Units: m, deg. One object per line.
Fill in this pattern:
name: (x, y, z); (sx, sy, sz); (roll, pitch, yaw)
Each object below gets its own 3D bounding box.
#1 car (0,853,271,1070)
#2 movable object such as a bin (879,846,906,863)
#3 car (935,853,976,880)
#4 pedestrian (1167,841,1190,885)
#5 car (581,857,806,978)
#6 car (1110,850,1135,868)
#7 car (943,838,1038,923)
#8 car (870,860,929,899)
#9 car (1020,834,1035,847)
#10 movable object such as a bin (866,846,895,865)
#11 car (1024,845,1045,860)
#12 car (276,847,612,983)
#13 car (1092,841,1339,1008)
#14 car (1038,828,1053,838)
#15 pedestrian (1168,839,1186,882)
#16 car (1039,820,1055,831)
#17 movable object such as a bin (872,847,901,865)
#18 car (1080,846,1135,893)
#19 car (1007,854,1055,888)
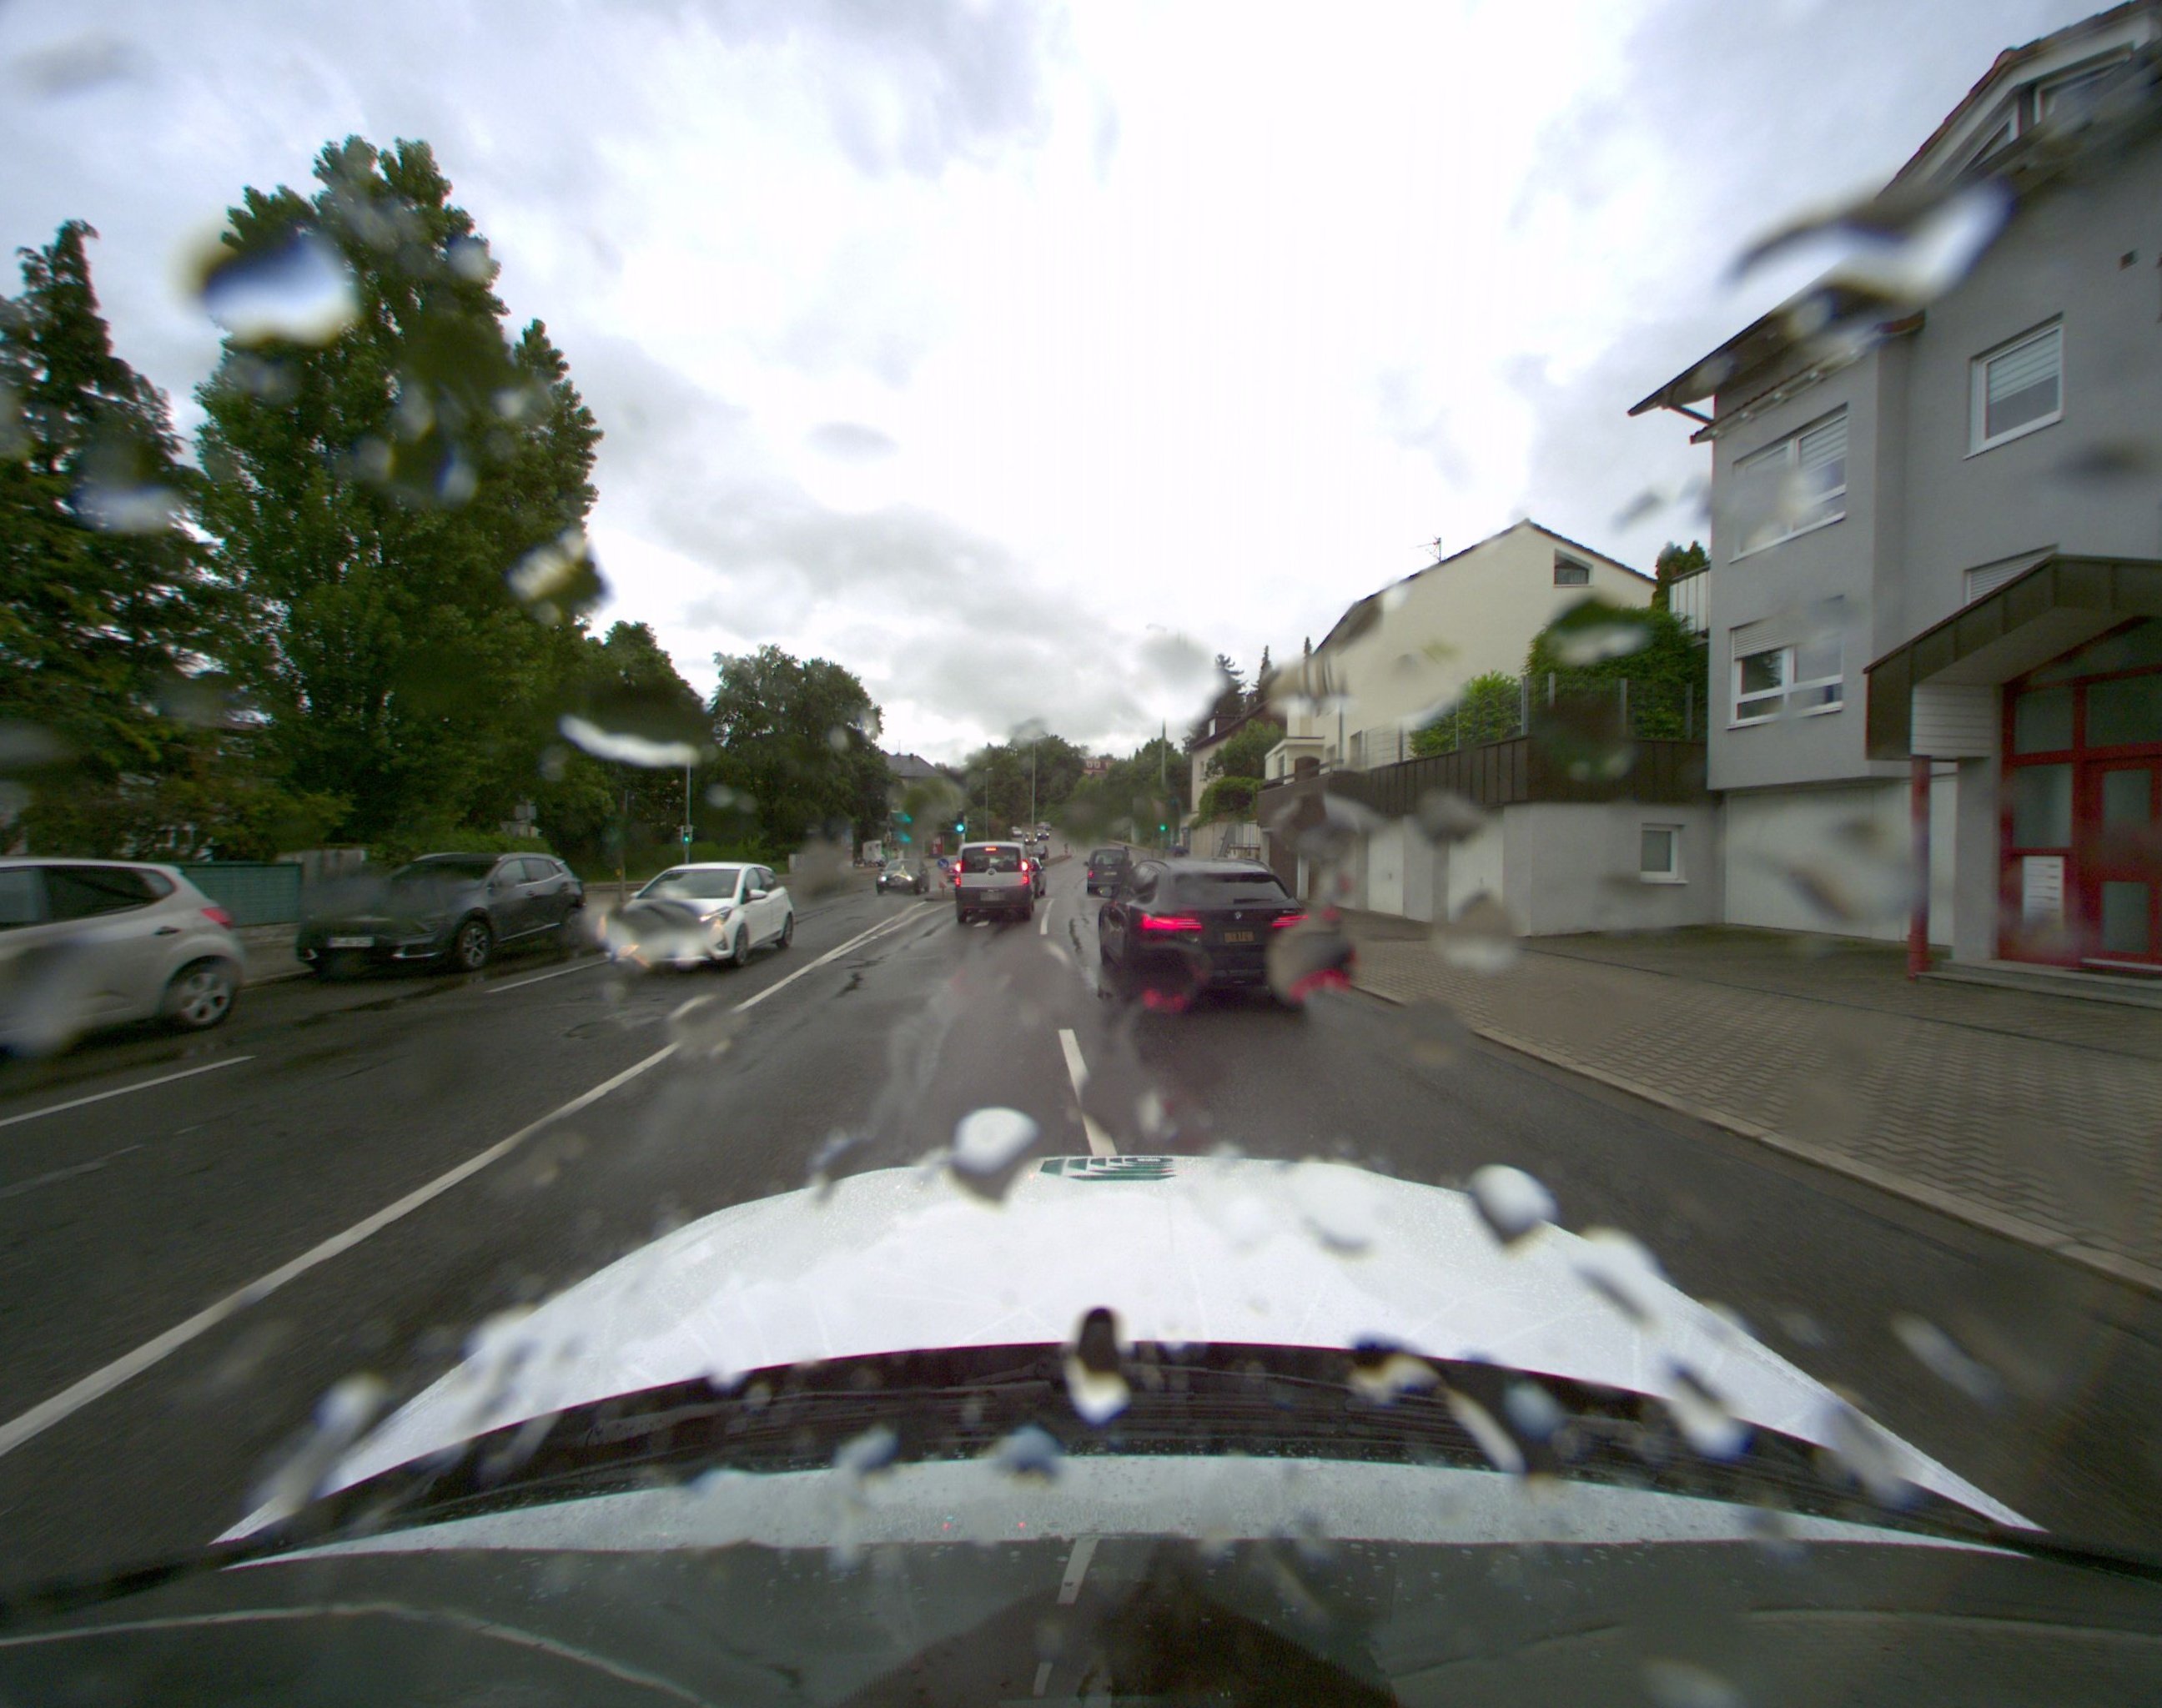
car: (-8.709, 0.784, 5.866); (1.801, 1.568, 4.136); (0, -1, -5)
movable object such as a bin: (-17.208, 0.053, 74.443); (2.047, 1.514, 1.346); (-1, 2, 6)
car: (-7.285, 0.681, 47.578); (1.848, 1.464, 3.998); (0, 0, -1)
pedestrian: (4.036, 0.360, 33.668); (0.791, 1.780, 1.012); (-2, 0, 1)
car: (-5.748, 0.836, 12.682); (1.829, 1.530, 3.993); (-1, 0, -5)
car: (3.980, 0.483, 79.046); (1.848, 1.661, 3.994); (0, 1, -5)
car: (-2.139, 0.592, 20.568); (1.946, 1.871, 4.743); (-1, 0, -1)
car: (-7.419, 1.001, 33.637); (1.708, 1.502, 3.996); (0, 0, -3)
car: (-8.076, -2.029, 123.630); (1.992, 2.013, 3.990); (-1, 0, -7)
movable object such as a bin: (-17.552, 0.160, 71.385); (2.047, 1.568, 1.584); (-1, 2, 6)
car: (-4.848, -0.153, 85.593); (1.987, 1.574, 3.999); (-1, -1, 0)
car: (-9.301, 0.784, 12.518); (1.801, 1.669, 4.590); (0, -1, -5)
car: (1.350, 0.726, 10.178); (1.990, 1.586, 4.655); (1, -1, -5)
car: (-5.843, -3.464, 133.540); (1.841, 1.552, 4.370); (-1, 0, -9)
pedestrian: (4.612, 0.309, 39.011); (0.794, 2.014, 0.734); (0, -1, 1)
car: (-6.658, -5.484, 158.198); (1.999, 2.013, 3.975); (-1, 0, -18)
movable object such as a bin: (-17.393, 0.177, 72.980); (2.047, 1.568, 1.584); (-1, 2, 6)
car: (1.004, 0.578, 32.874); (1.988, 1.748, 3.998); (-1, 0, -1)
car: (-2.309, 0.759, 38.642); (1.901, 1.528, 4.653); (-1, 0, 1)
